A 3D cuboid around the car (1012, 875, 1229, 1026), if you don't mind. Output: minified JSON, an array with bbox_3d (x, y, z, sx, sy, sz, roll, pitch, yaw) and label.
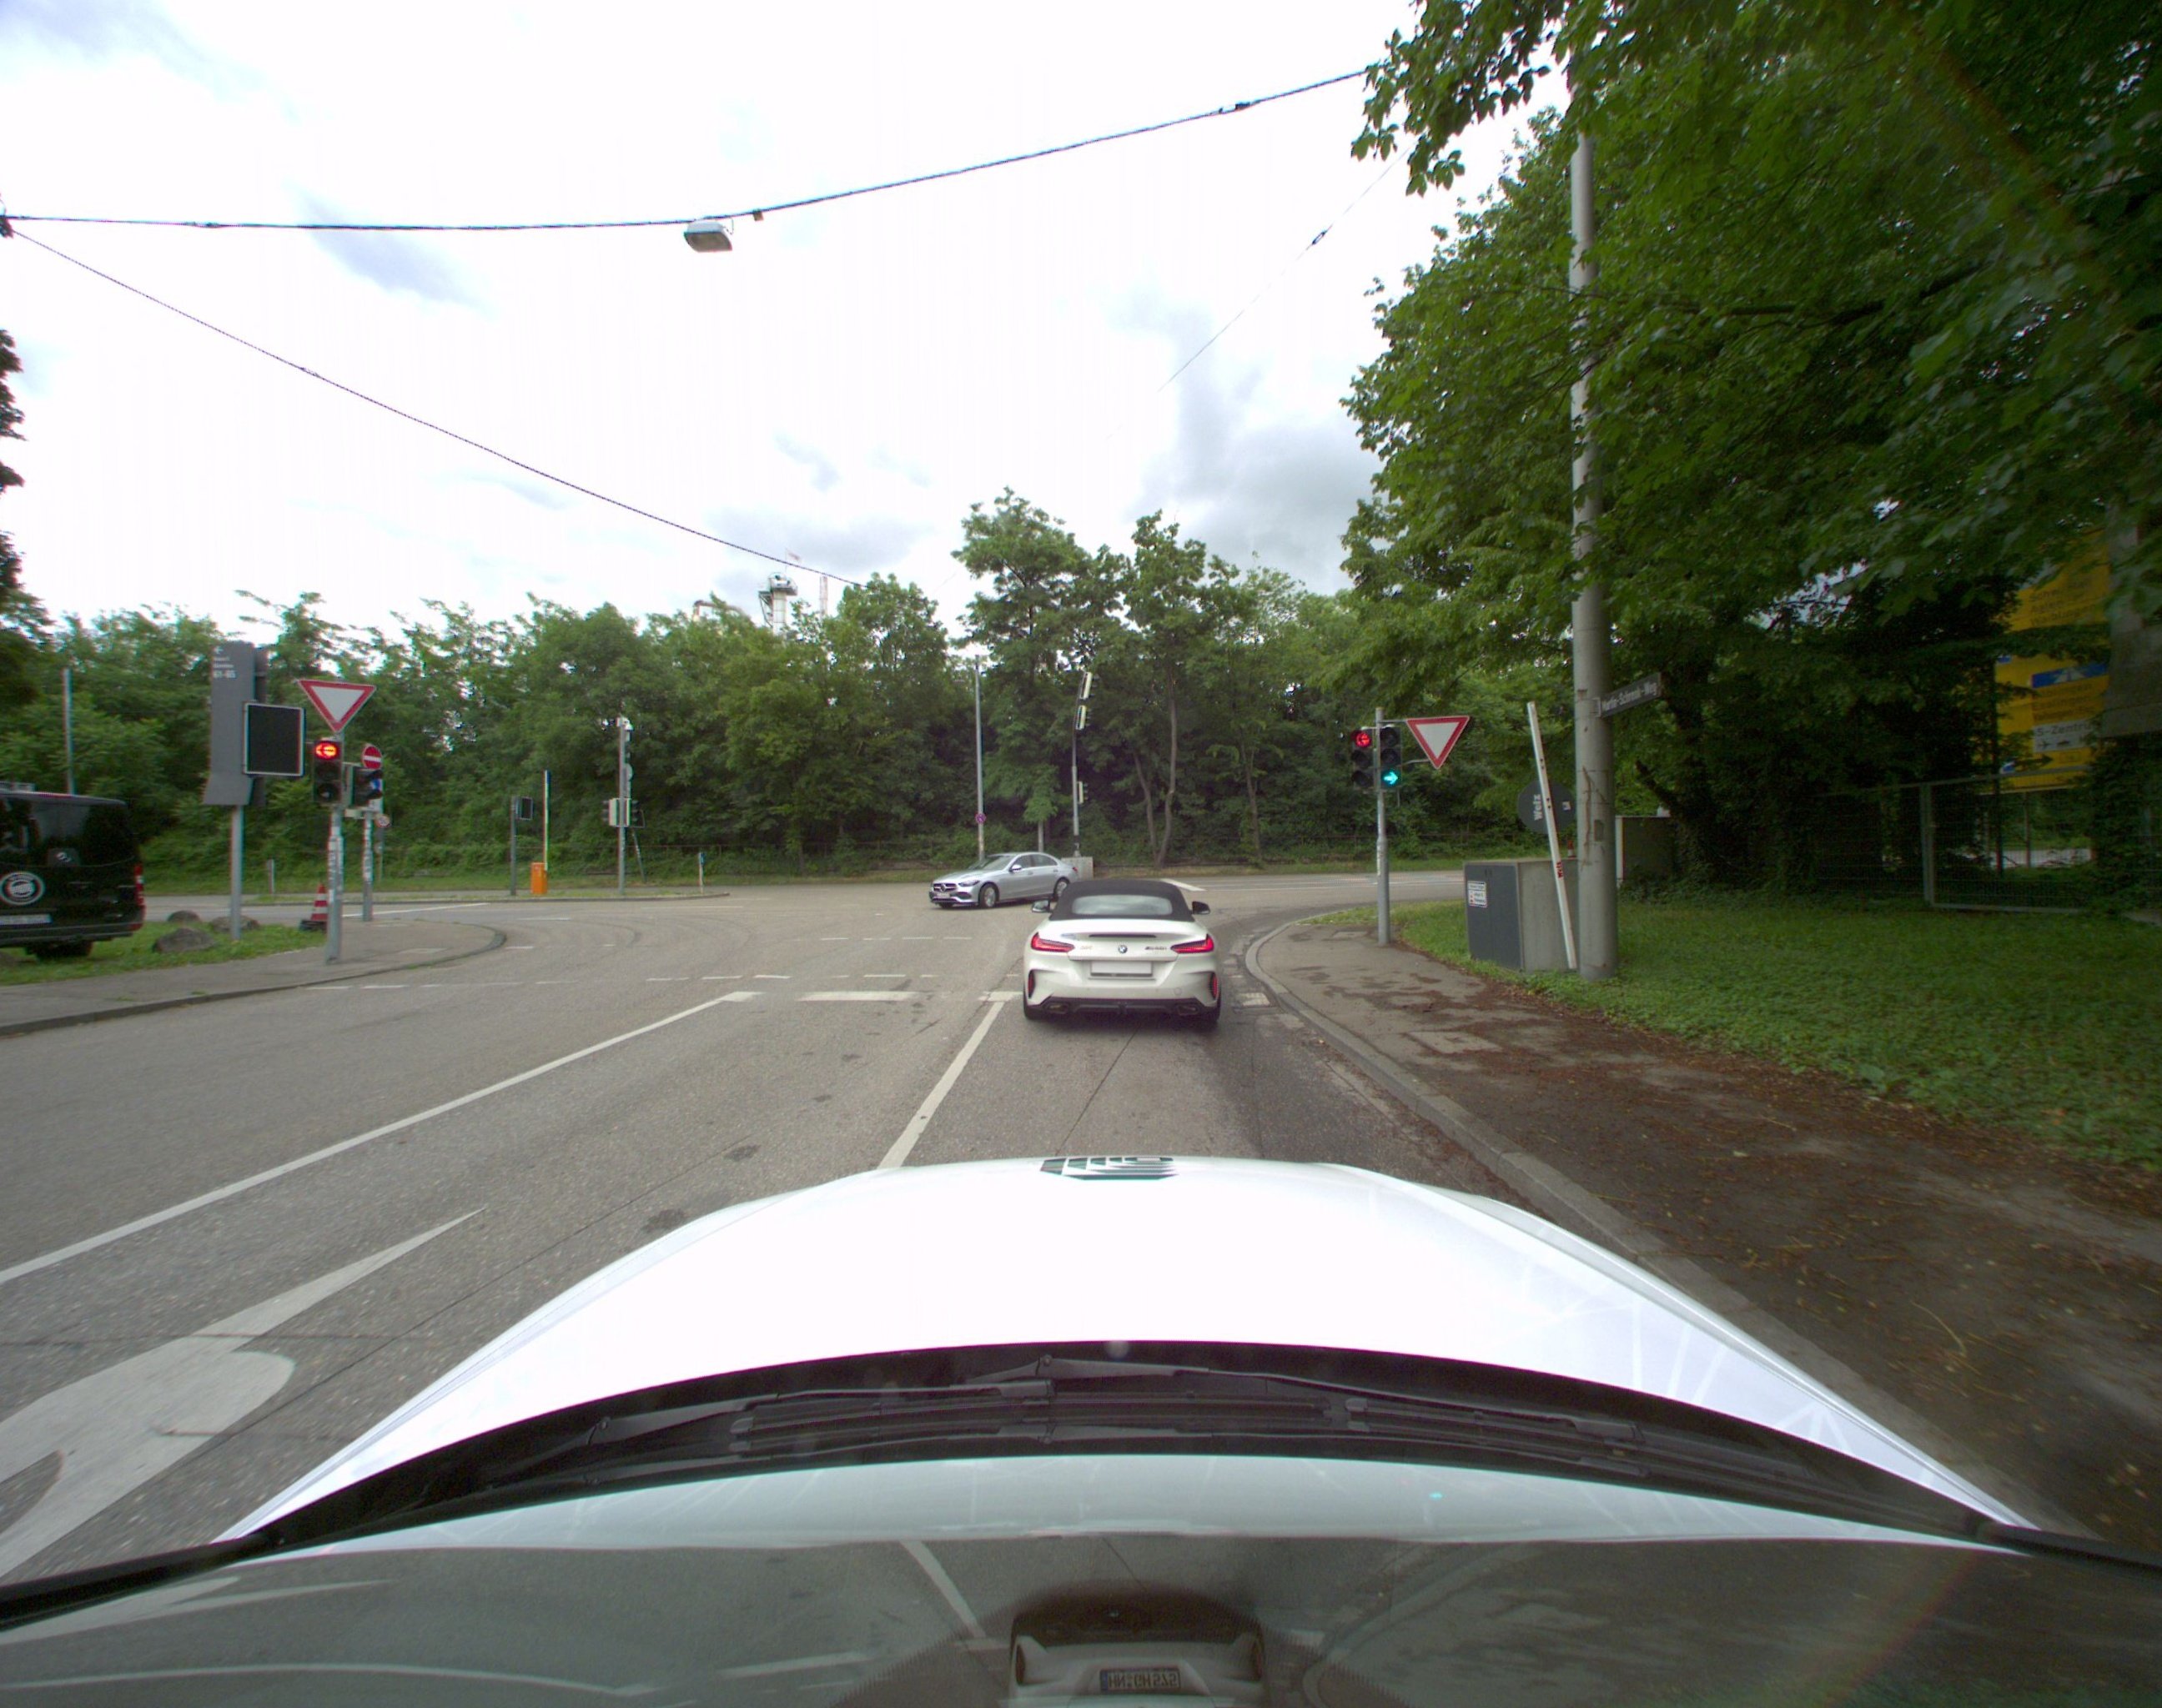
[{"bbox_3d":[0.376,0.894,8.863,1.821,1.257,4.000,0,-2,1],"label":"car"}]

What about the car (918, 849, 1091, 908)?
[{"bbox_3d":[-1.991,0.601,22.604,1.810,1.333,4.797,0,2,42],"label":"car"}]

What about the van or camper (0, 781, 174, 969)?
[{"bbox_3d":[-15.994,0.415,10.905,5.513,2.314,2.063,-3,-3,2],"label":"van or camper"}]
